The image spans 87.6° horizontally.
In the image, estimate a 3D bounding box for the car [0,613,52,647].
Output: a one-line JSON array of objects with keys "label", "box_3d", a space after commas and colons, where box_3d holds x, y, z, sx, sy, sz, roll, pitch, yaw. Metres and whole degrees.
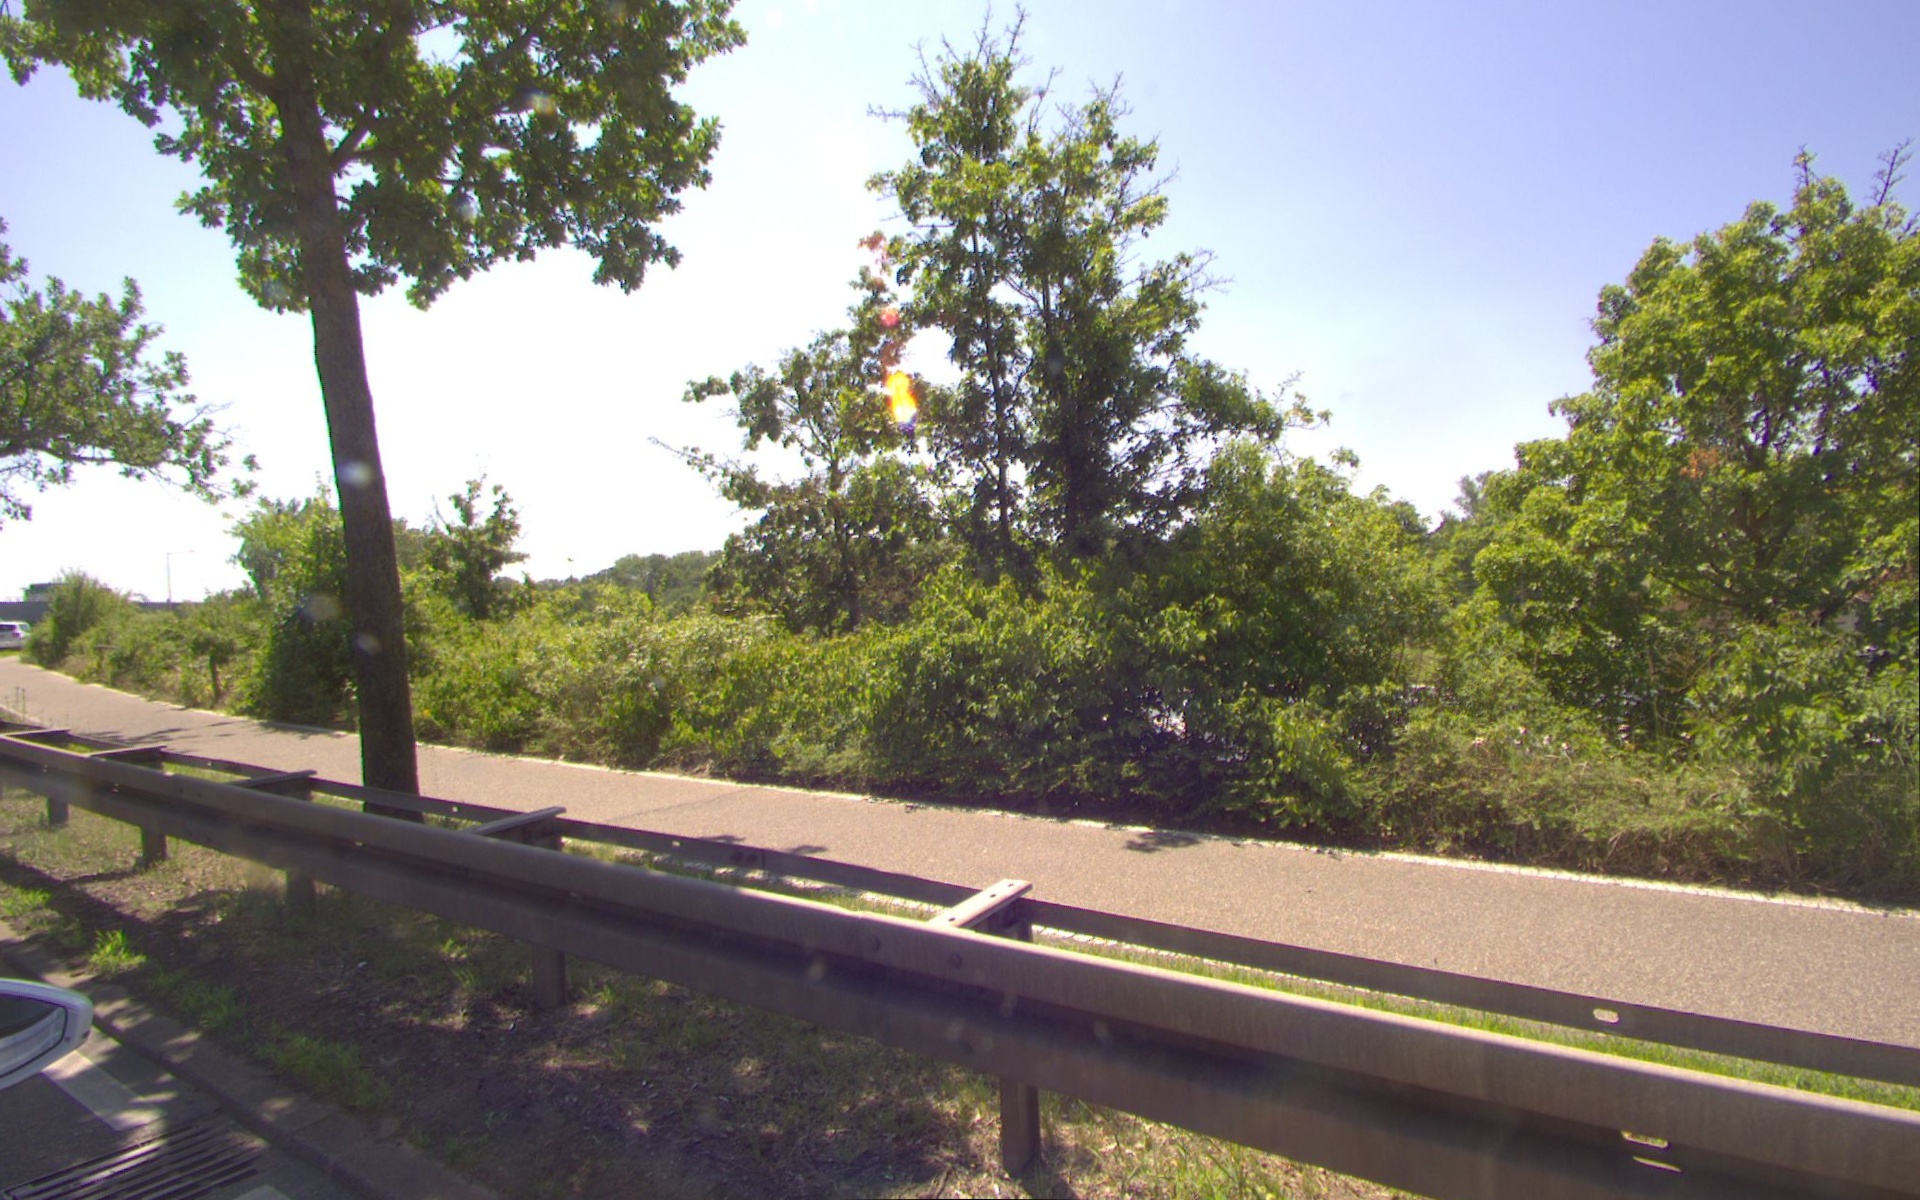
[{"label": "car", "box_3d": [-49.966, 1.568, 52.908, 1.971, 1.734, 4.598, 1, -2, -30]}]
